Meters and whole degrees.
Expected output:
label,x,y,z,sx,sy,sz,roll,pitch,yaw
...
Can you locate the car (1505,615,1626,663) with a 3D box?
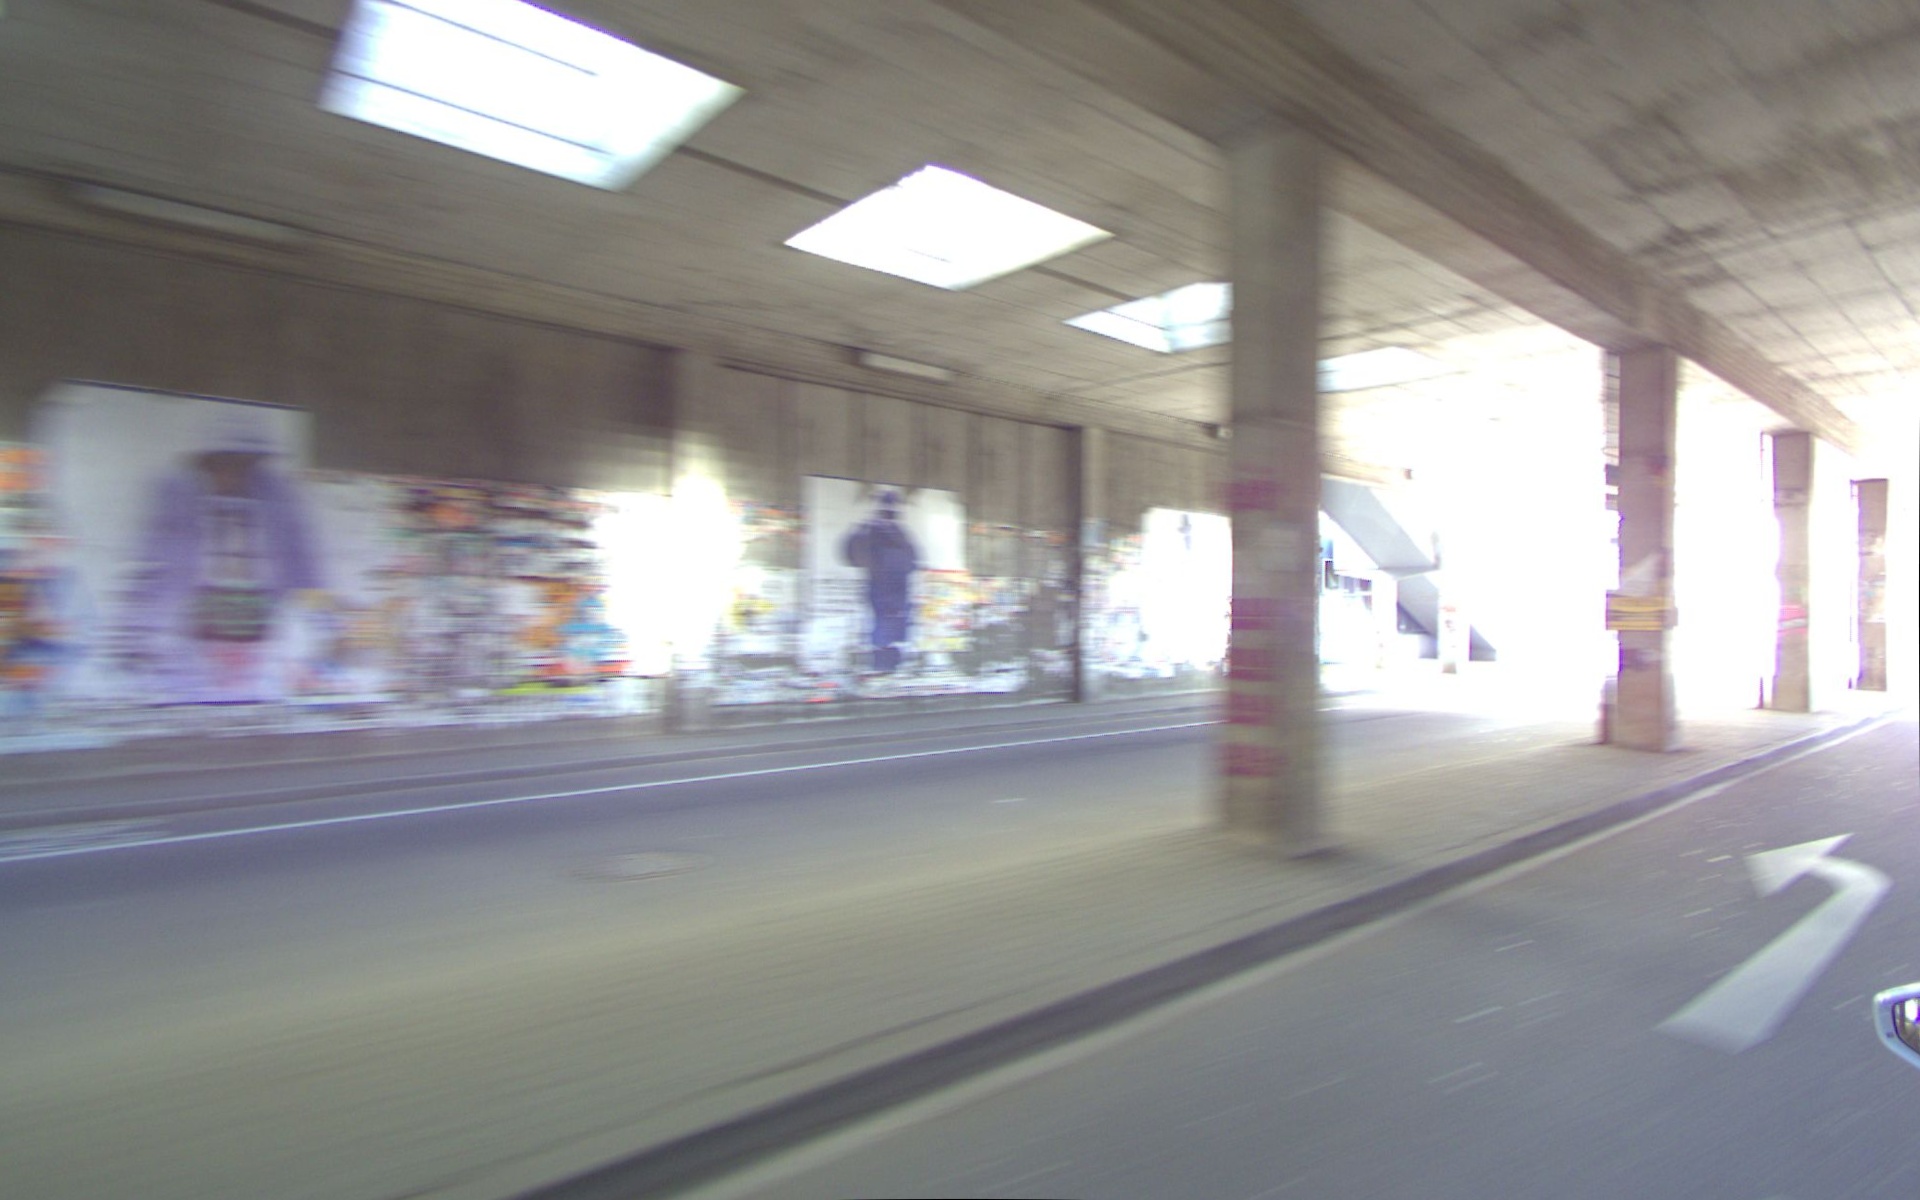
label,x,y,z,sx,sy,sz,roll,pitch,yaw
car,28.208,1.758,46.895,1.983,2.040,4.443,-2,1,-40
